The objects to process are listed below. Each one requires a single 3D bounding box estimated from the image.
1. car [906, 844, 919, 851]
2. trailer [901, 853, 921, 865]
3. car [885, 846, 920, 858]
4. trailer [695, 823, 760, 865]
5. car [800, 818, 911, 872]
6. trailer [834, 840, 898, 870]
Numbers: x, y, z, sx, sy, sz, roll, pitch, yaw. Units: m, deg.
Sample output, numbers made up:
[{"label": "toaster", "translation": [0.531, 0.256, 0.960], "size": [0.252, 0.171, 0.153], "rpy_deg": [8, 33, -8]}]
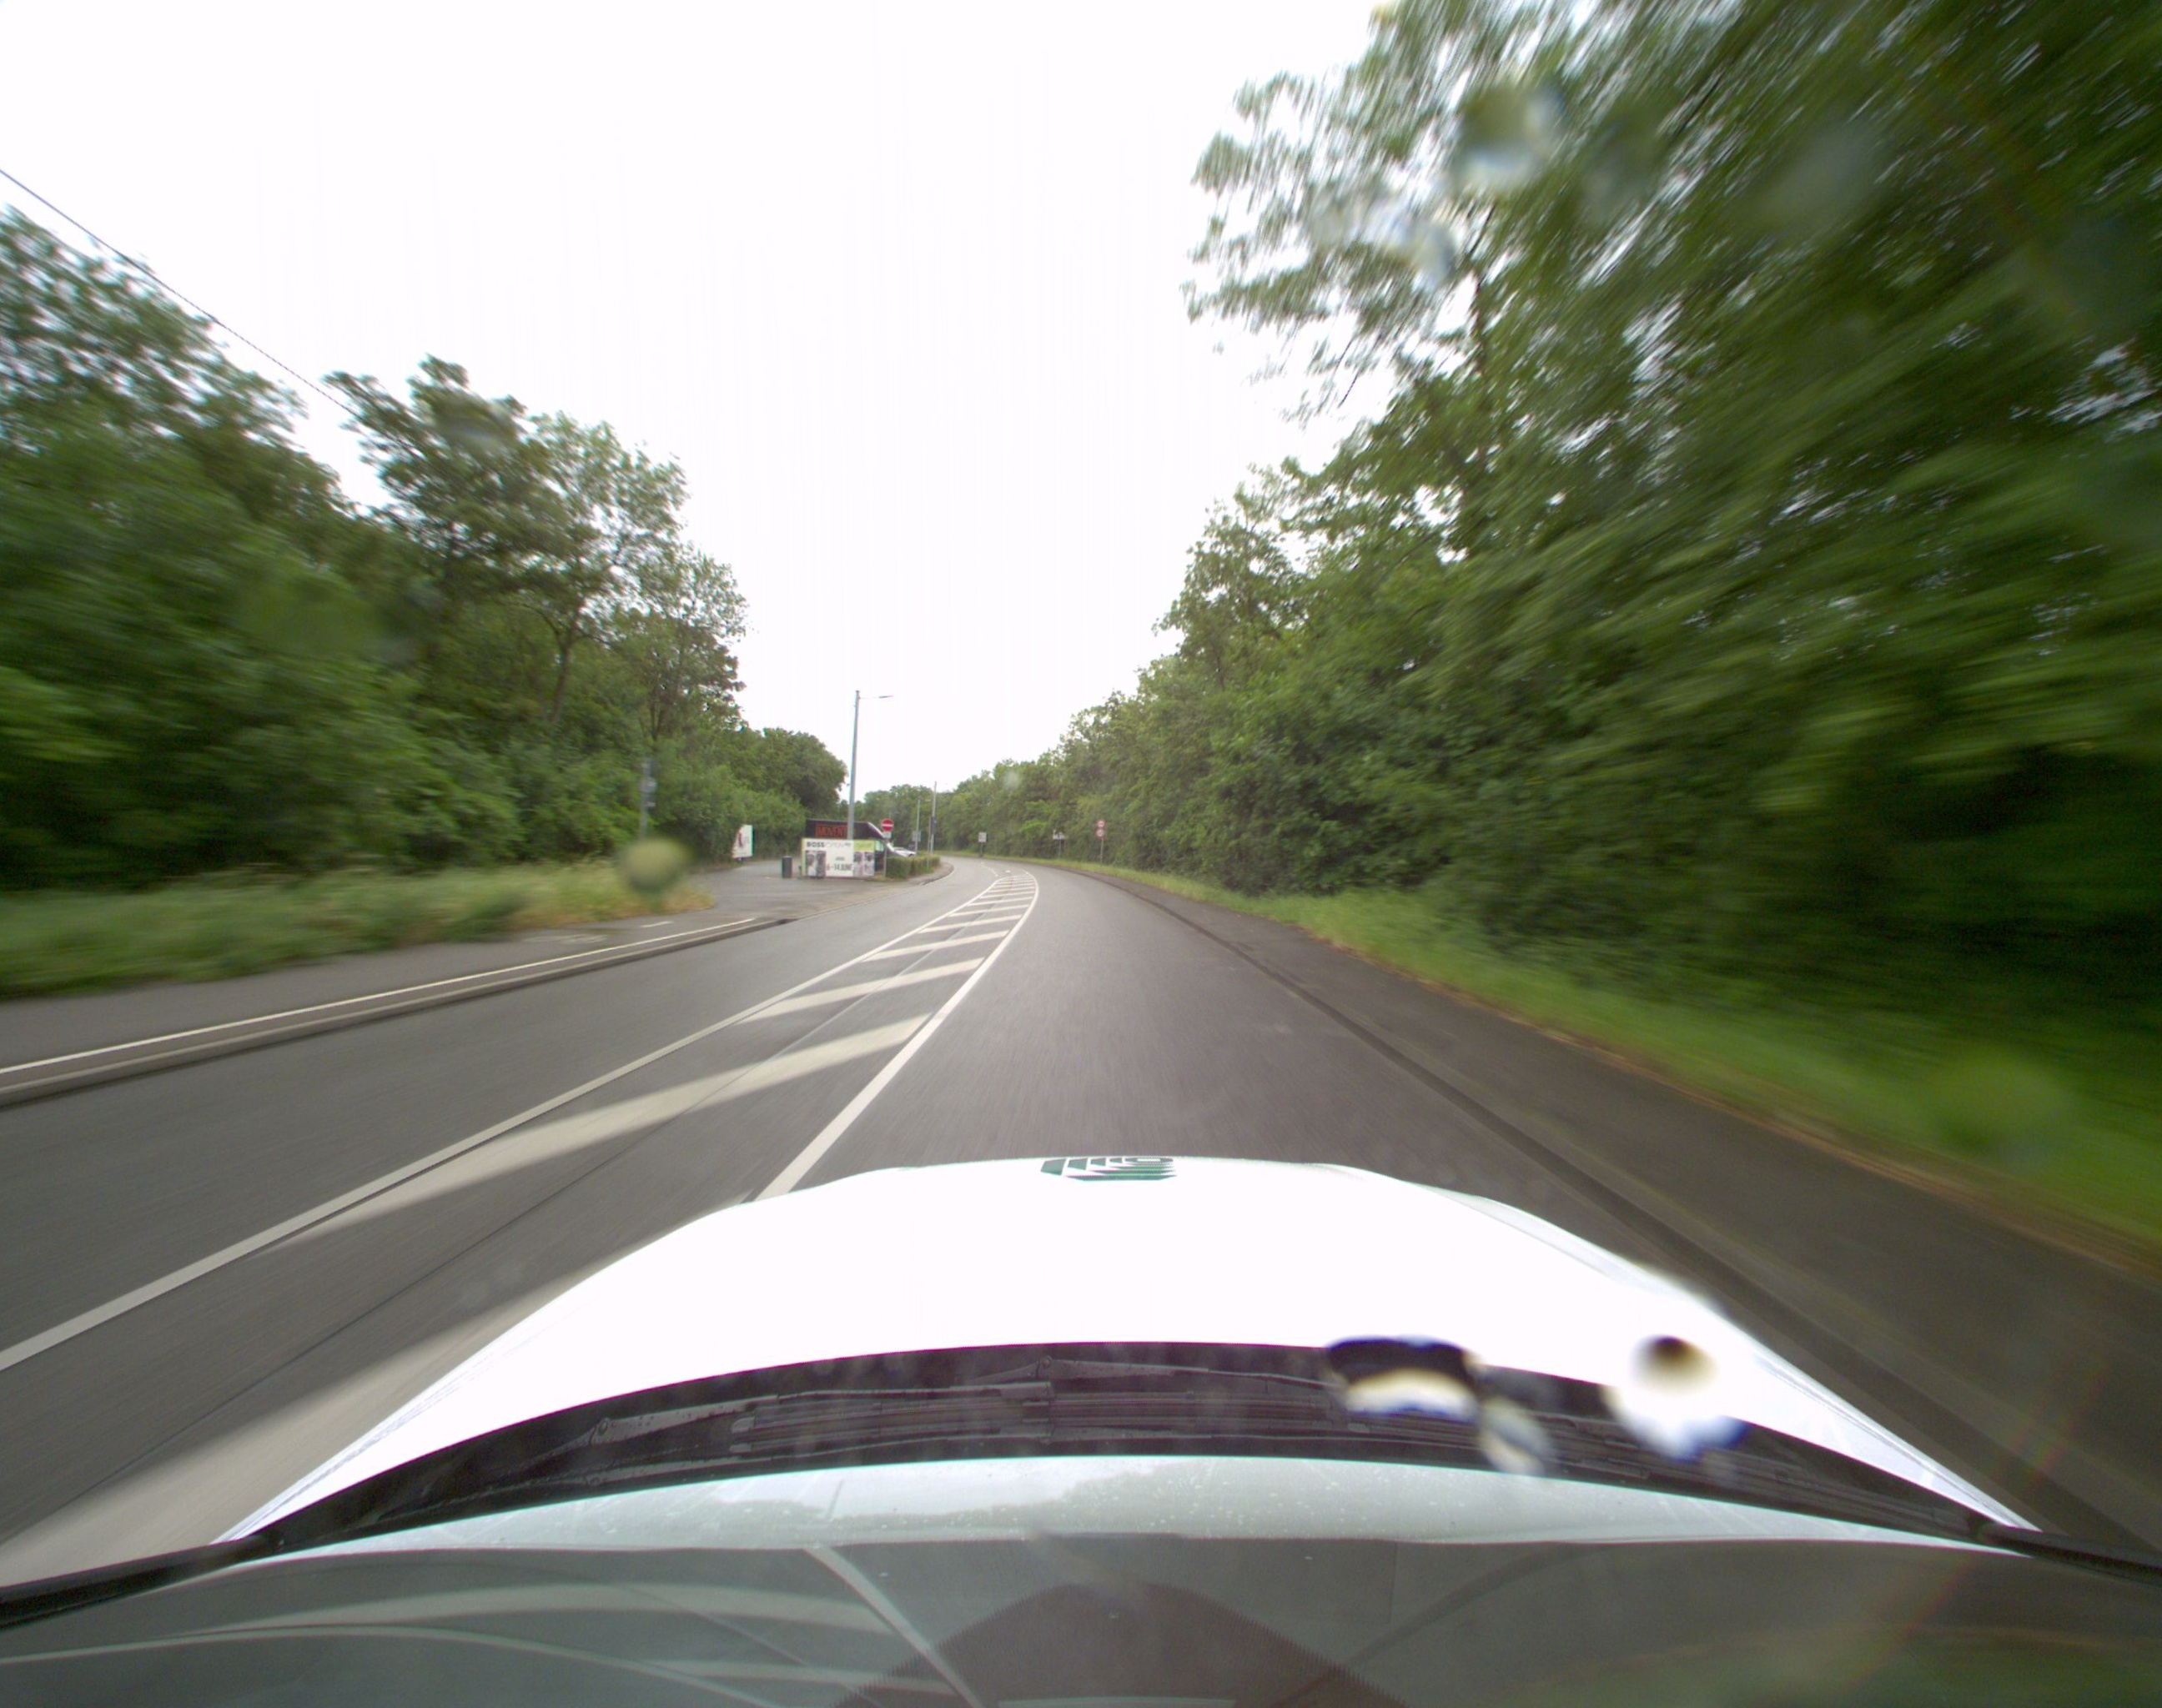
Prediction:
[{"label": "car", "translation": [-37.815, -1.490, 182.604], "size": [1.945, 1.498, 4.280], "rpy_deg": [1, 1, -27]}, {"label": "trailer", "translation": [-15.893, 0.447, 76.271], "size": [1.803, 1.034, 1.328], "rpy_deg": [1, 0, -13]}, {"label": "car", "translation": [-25.591, -0.269, 116.519], "size": [4.593, 1.506, 1.986], "rpy_deg": [1, 0, -22]}, {"label": "trailer", "translation": [-25.711, -0.681, 59.578], "size": [2.476, 2.873, 7.950], "rpy_deg": [0, 0, -10]}, {"label": "car", "translation": [-13.815, -0.508, 50.271], "size": [6.272, 3.113, 2.742], "rpy_deg": [1, -1, -10]}, {"label": "trailer", "translation": [-14.665, 0.068, 55.632], "size": [3.983, 2.053, 1.868], "rpy_deg": [0, 0, -7]}]
